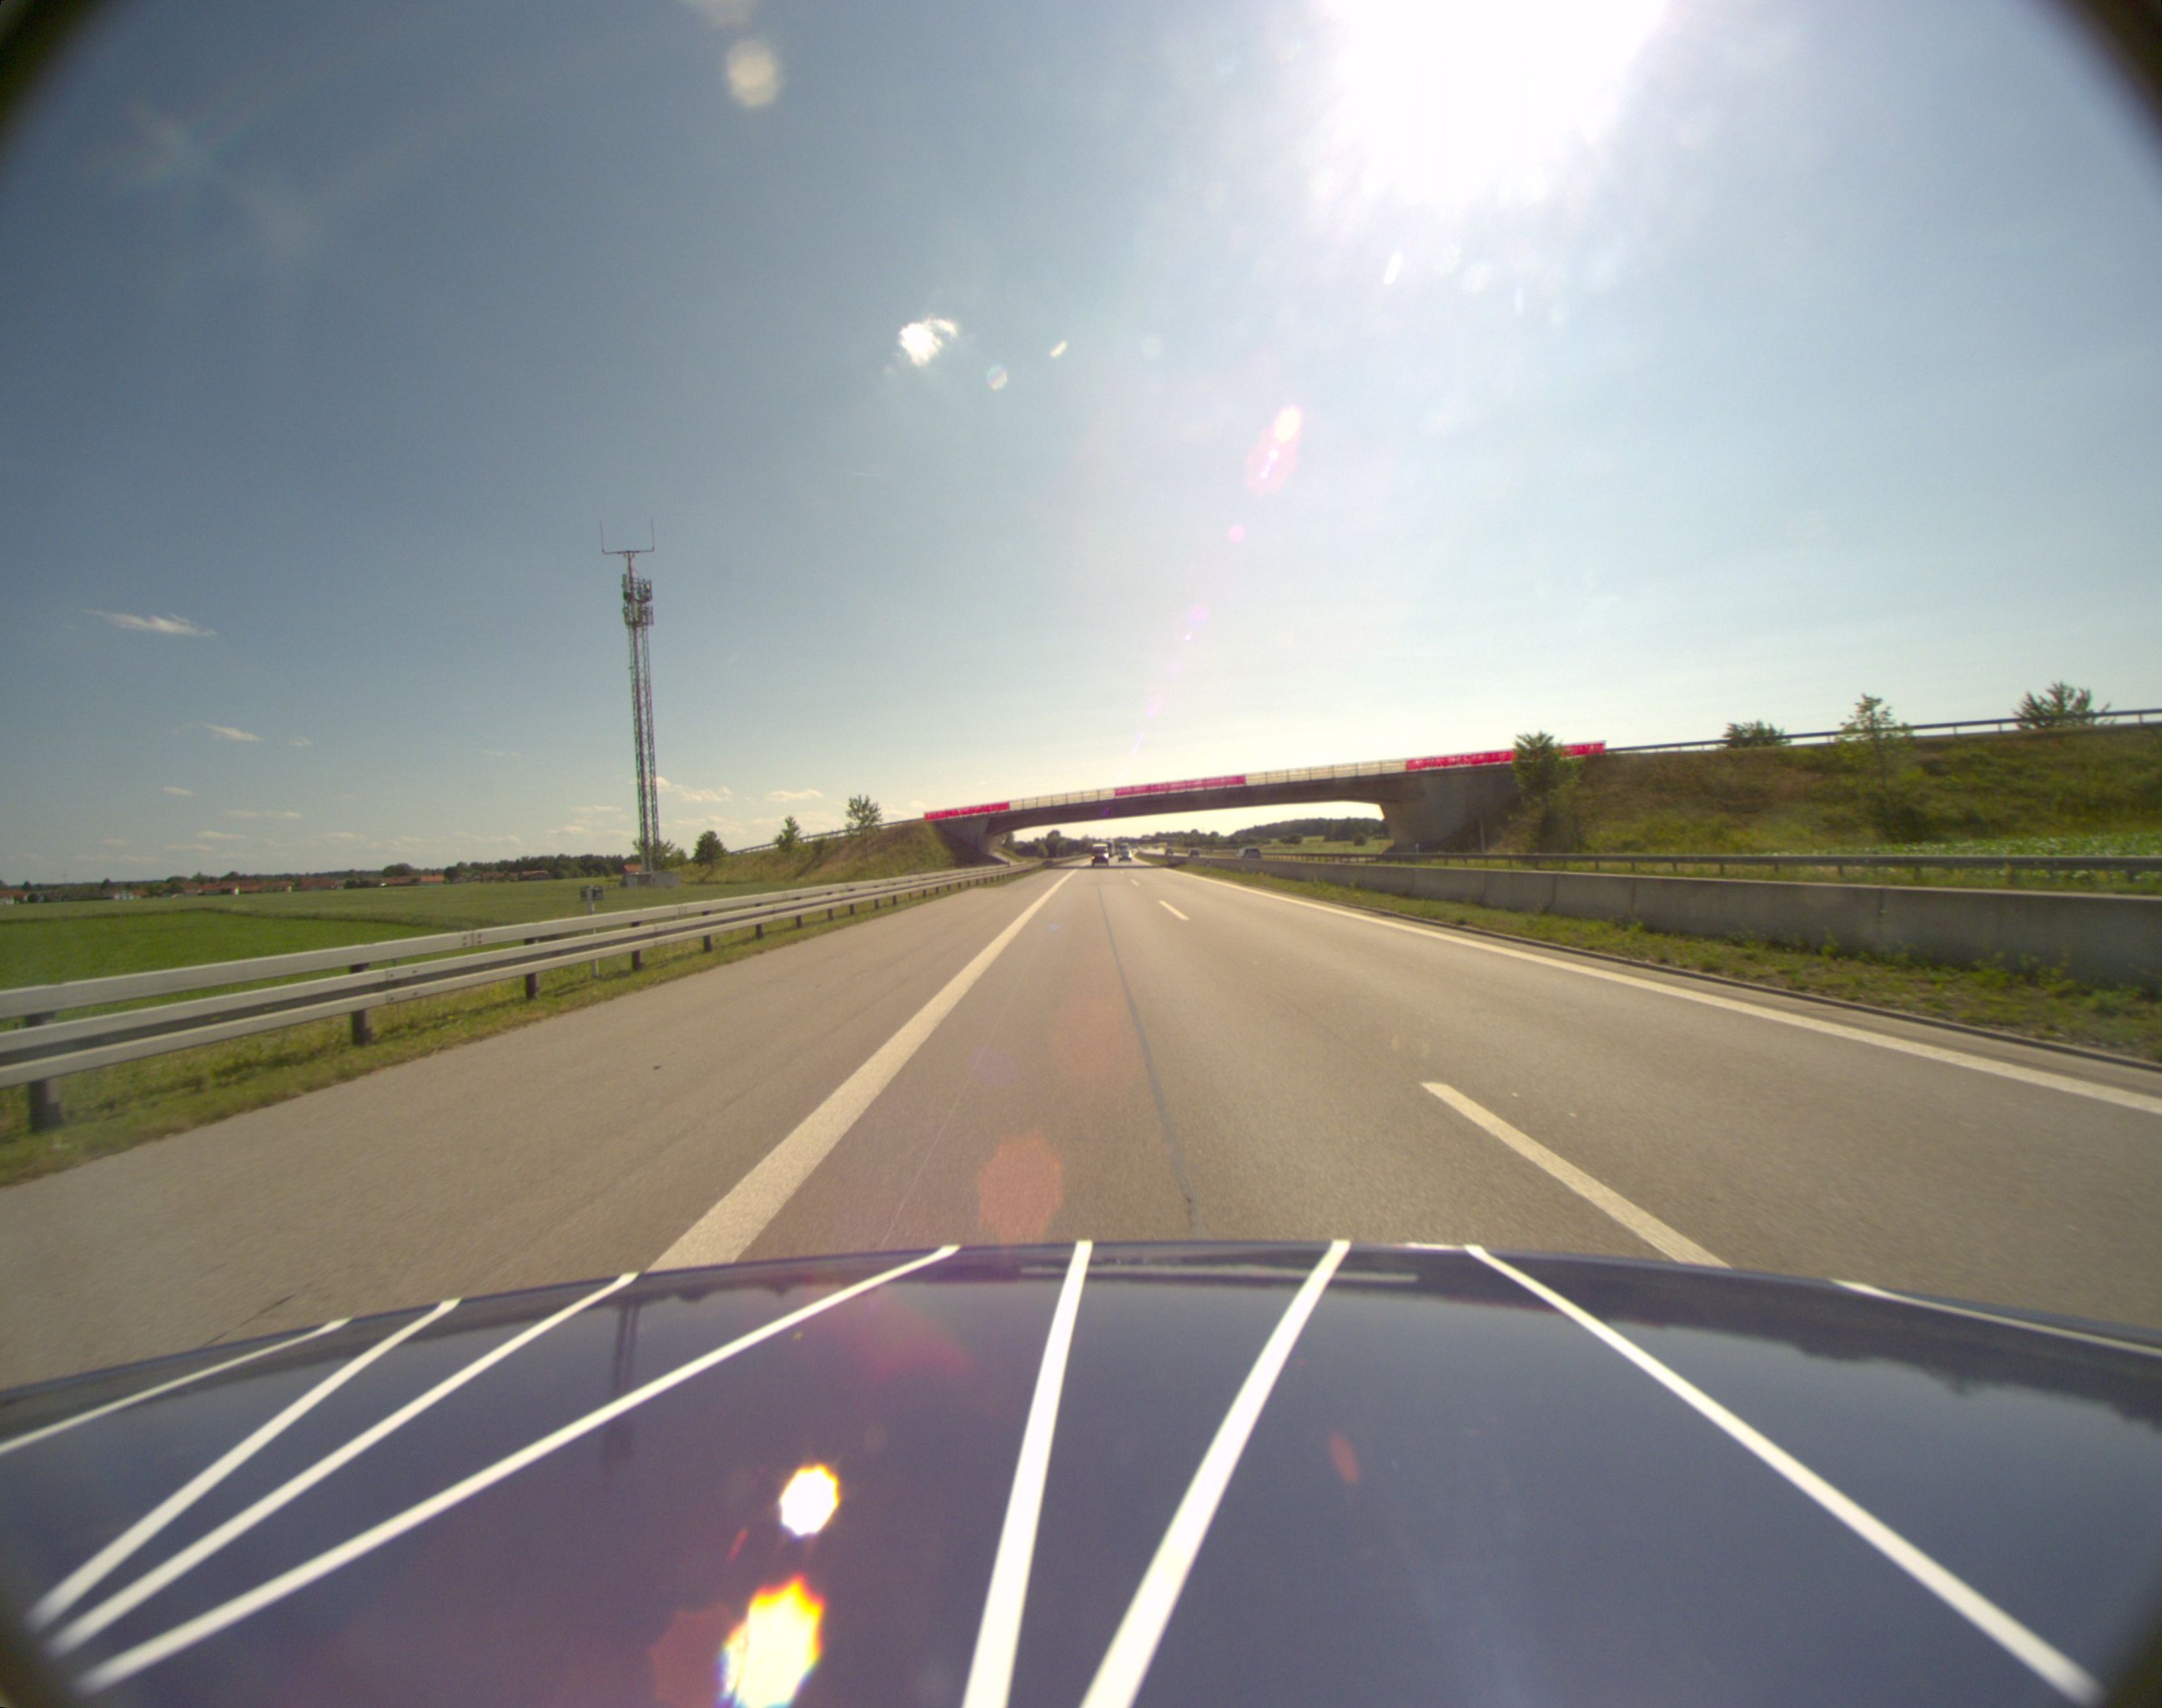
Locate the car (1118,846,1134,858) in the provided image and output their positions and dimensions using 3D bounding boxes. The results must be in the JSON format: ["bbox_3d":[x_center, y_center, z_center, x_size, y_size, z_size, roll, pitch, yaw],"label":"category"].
[{"bbox_3d":[6.247,-0.260,105.498,2.030,1.600,4.818,-1,0,2],"label":"car"}]

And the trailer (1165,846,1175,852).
[{"bbox_3d":[21.368,-1.237,183.470,1.998,1.250,4.262,-3,1,2],"label":"trailer"}]

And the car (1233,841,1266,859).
[{"bbox_3d":[15.887,-0.385,71.906,1.998,1.569,4.896,-3,1,1],"label":"car"}]

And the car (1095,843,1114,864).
[{"bbox_3d":[2.677,-0.098,86.134,2.030,2.225,4.818,-2,1,1],"label":"car"}]

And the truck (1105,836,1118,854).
[{"bbox_3d":[6.816,-2.125,170.504,2.762,3.793,7.517,-3,1,1],"label":"truck"}]

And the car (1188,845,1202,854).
[{"bbox_3d":[19.595,-0.839,131.145,1.859,1.452,4.195,-2,1,1],"label":"car"}]

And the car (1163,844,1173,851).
[{"bbox_3d":[21.499,-1.551,188.402,1.998,1.721,5.587,-3,0,2],"label":"car"}]
